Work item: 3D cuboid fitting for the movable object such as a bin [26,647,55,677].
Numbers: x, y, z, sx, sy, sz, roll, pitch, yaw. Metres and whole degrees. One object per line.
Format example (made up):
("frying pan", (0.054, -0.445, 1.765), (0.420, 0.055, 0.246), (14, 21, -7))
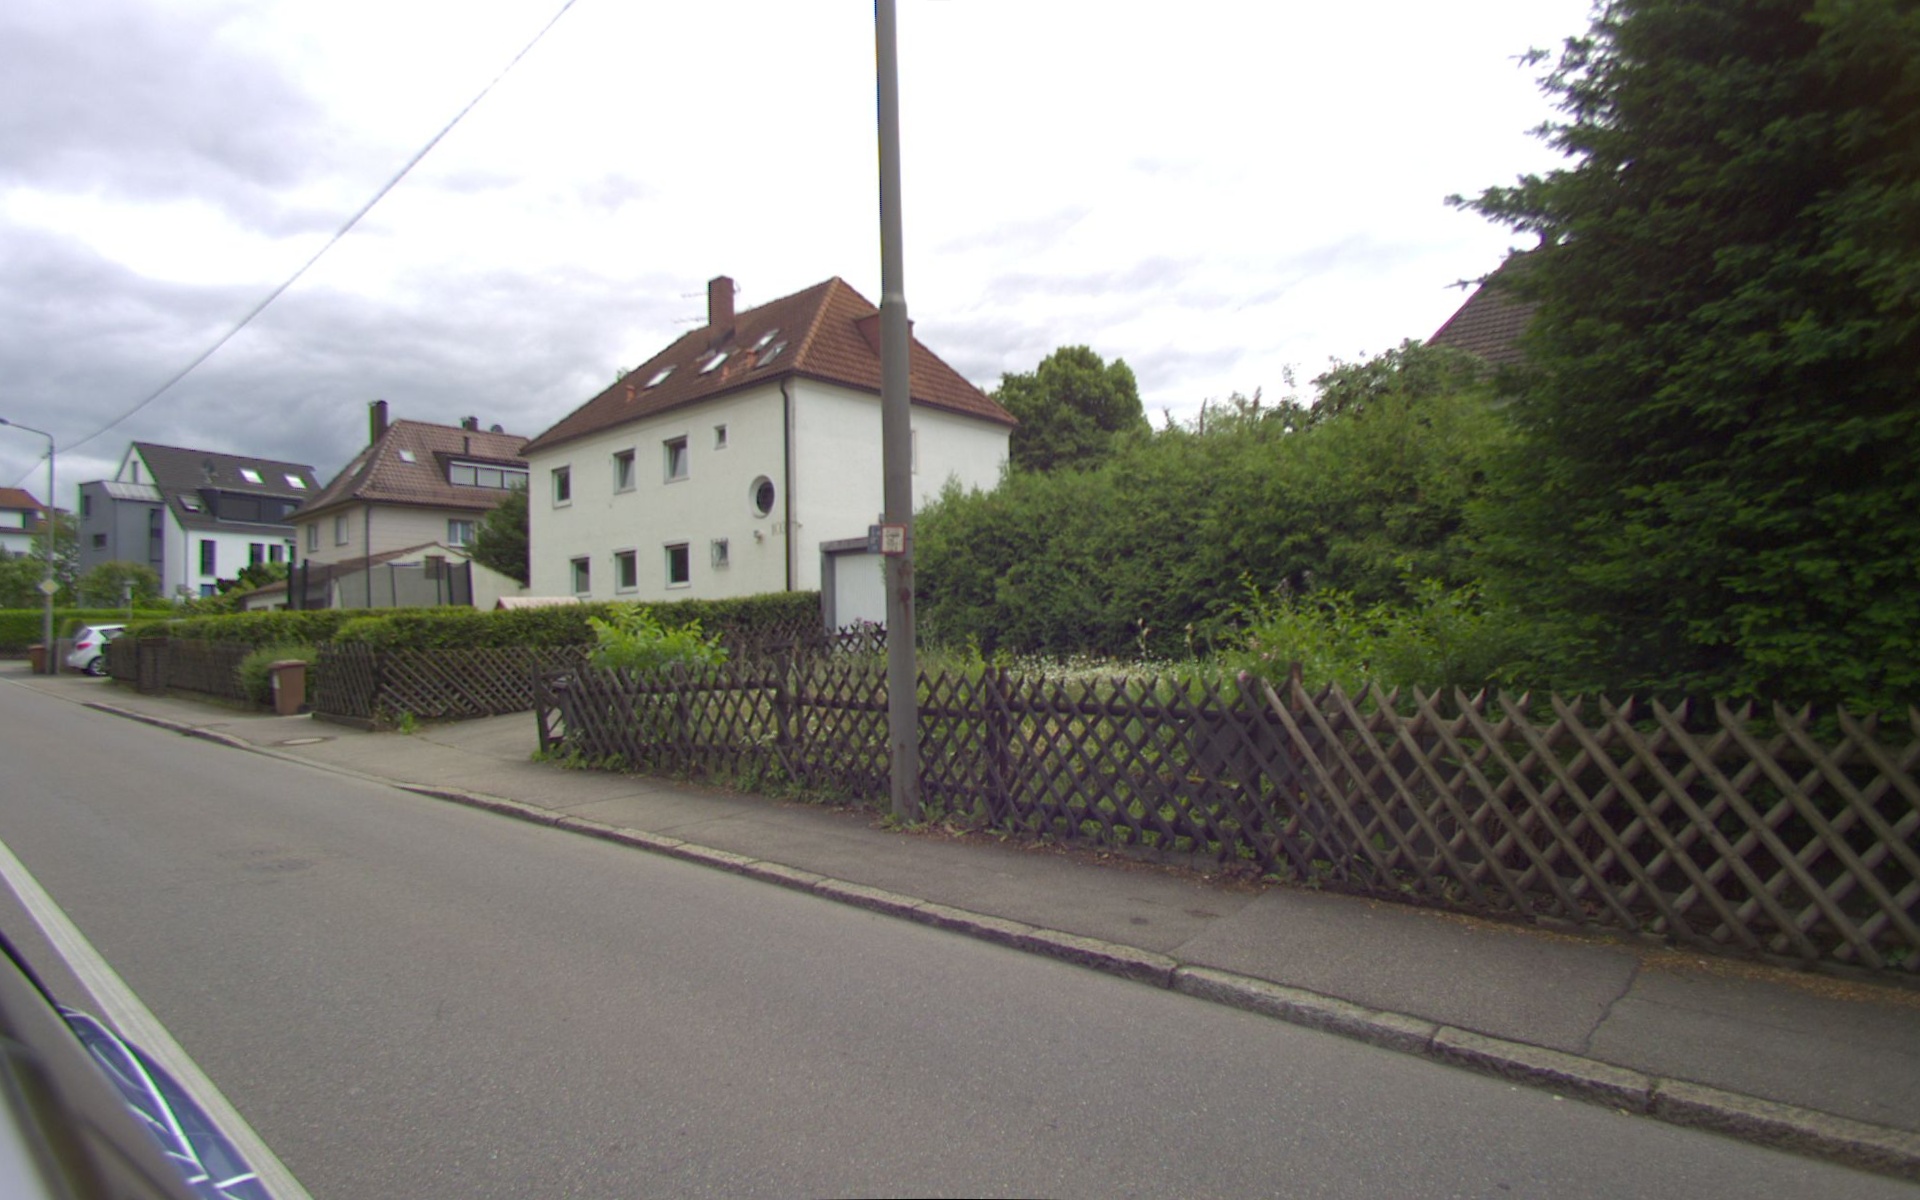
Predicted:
("movable object such as a bin", (-30.309, 2.044, 33.370), (0.572, 0.961, 0.680), (-2, -2, 45))

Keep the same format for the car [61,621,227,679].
("car", (-26.569, 1.582, 33.031), (1.717, 1.606, 3.946), (-2, 1, 41))

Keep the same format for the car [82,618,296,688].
("car", (-22.373, 1.467, 29.530), (1.881, 1.682, 4.624), (-2, 1, 39))

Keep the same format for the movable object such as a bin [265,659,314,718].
("movable object such as a bin", (-11.297, 1.480, 17.054), (0.625, 0.920, 0.561), (-1, -1, -39))

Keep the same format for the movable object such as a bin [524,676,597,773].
("movable object such as a bin", (-4.231, 1.297, 10.711), (0.537, 0.945, 0.544), (-2, -2, 42))
